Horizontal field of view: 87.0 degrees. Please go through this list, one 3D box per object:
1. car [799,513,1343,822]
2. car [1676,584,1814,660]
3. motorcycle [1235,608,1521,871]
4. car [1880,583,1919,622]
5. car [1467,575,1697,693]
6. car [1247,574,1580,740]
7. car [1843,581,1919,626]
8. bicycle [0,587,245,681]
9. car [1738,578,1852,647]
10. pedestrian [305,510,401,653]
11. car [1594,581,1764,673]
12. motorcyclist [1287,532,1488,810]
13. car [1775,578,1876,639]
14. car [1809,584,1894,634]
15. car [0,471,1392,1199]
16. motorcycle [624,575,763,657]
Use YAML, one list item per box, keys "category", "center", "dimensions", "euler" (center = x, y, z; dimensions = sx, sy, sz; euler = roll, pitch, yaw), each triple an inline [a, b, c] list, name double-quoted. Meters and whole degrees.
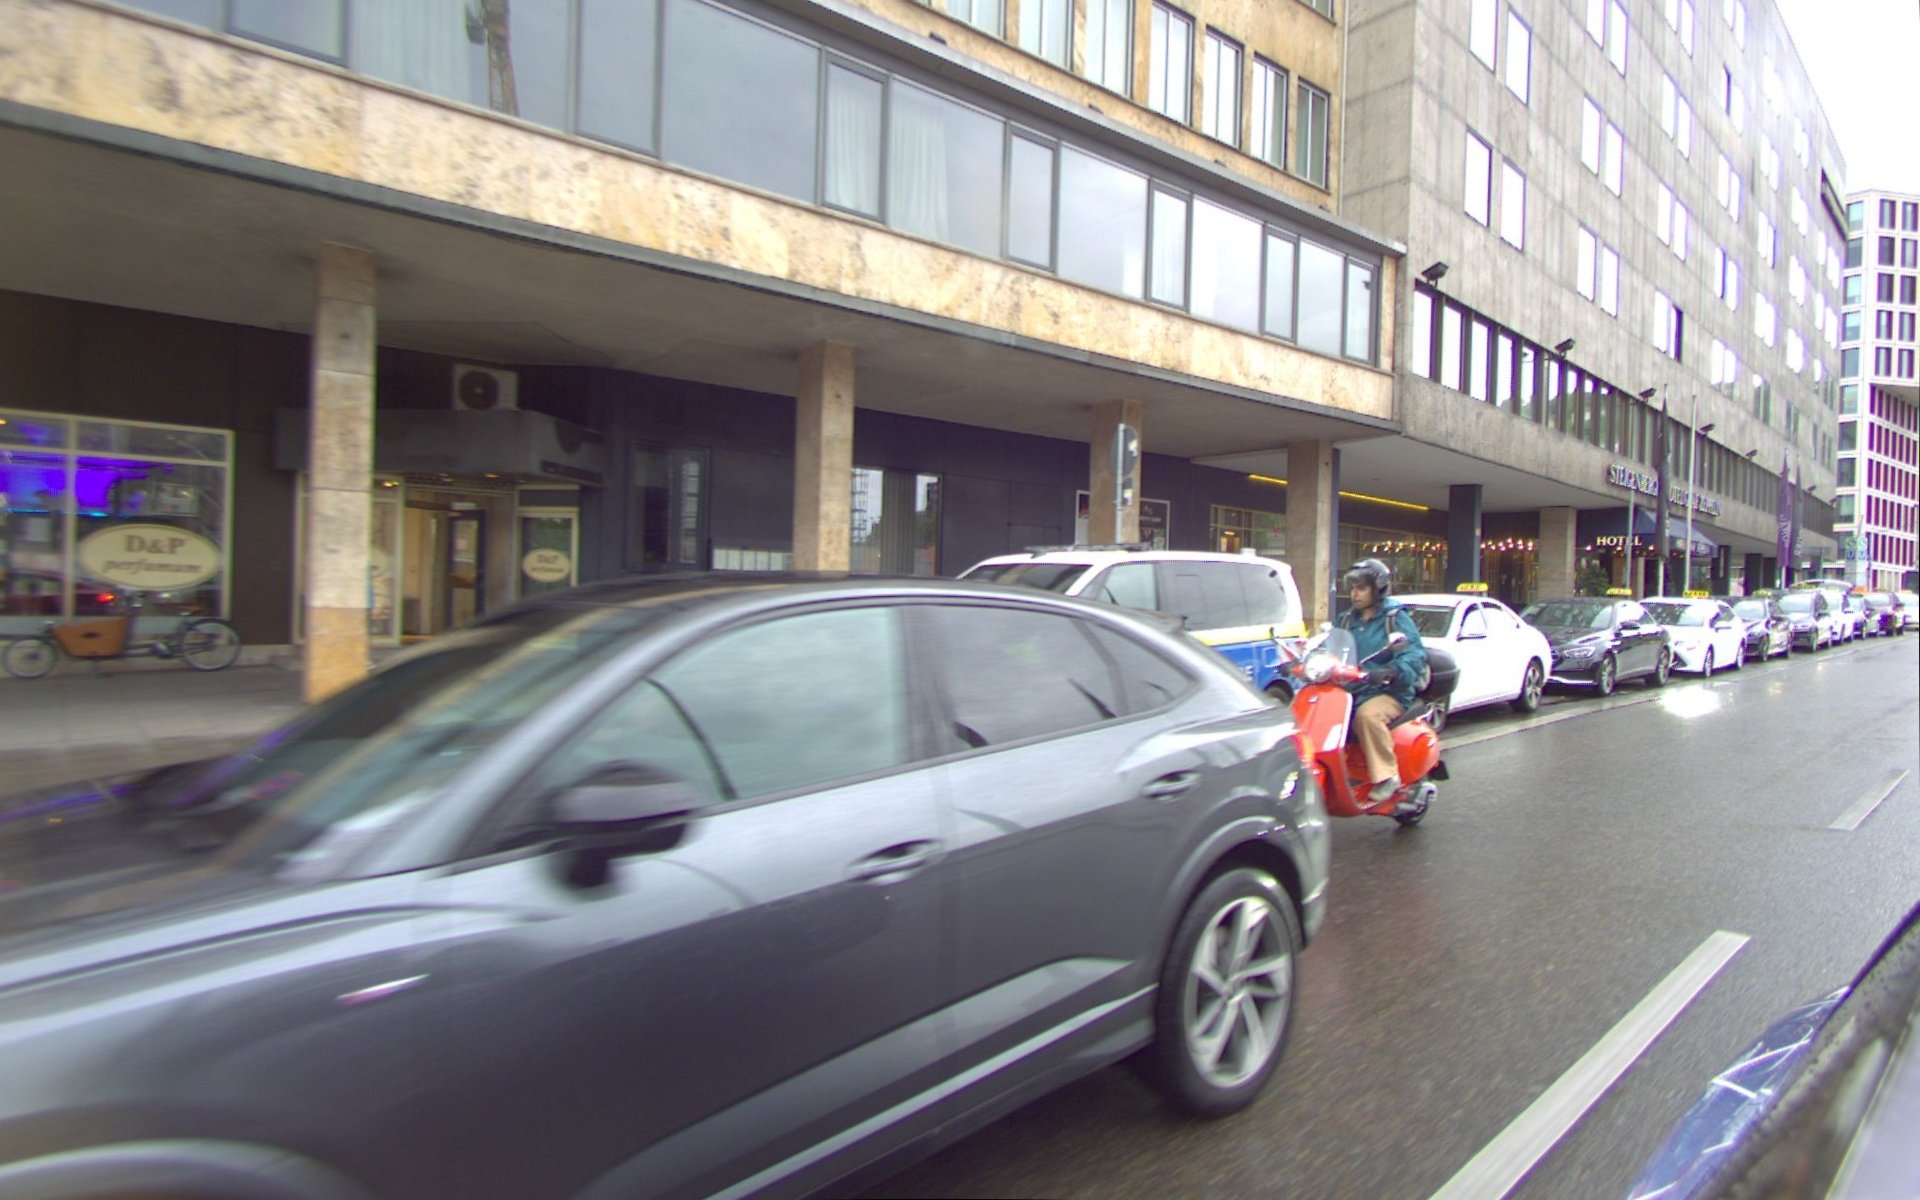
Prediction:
- category: "car"
  center: [1.195, 0.388, 8.688]
  dimensions: [4.850, 1.944, 1.877]
  euler: [-1, 1, -41]
- category: "car"
  center: [18.663, 0.441, 23.979]
  dimensions: [4.731, 1.612, 1.729]
  euler: [-1, 1, -41]
- category: "motorcycle"
  center: [2.616, 0.733, 6.229]
  dimensions: [1.931, 1.323, 0.848]
  euler: [-1, 0, -41]
- category: "car"
  center: [42.453, 0.083, 45.107]
  dimensions: [3.932, 1.634, 1.729]
  euler: [-1, 1, -41]
- category: "car"
  center: [10.198, 0.440, 16.430]
  dimensions: [4.731, 1.658, 1.877]
  euler: [-1, 1, -41]
- category: "car"
  center: [5.733, 0.528, 12.453]
  dimensions: [4.925, 1.658, 1.877]
  euler: [-1, 1, -41]
- category: "car"
  center: [34.922, 0.098, 38.312]
  dimensions: [3.932, 1.634, 1.729]
  euler: [-1, 1, -41]
- category: "bicycle"
  center: [-10.368, 0.375, 12.525]
  dimensions: [2.429, 1.059, 0.657]
  euler: [-1, 0, -41]
- category: "car"
  center: [23.178, 0.275, 28.031]
  dimensions: [4.731, 1.764, 1.729]
  euler: [-1, 1, -41]
- category: "pedestrian"
  center: [-8.052, -0.250, 13.477]
  dimensions: [0.784, 1.812, 1.138]
  euler: [-1, 0, -14]
- category: "car"
  center: [14.410, 0.447, 20.162]
  dimensions: [4.731, 1.612, 1.729]
  euler: [-1, 1, -41]
- category: "motorcyclist"
  center: [2.634, 0.388, 6.247]
  dimensions: [0.829, 1.547, 0.860]
  euler: [-1, 0, -41]
- category: "car"
  center: [26.958, 0.200, 31.468]
  dimensions: [4.731, 1.764, 1.729]
  euler: [-1, 1, -41]
- category: "car"
  center: [30.963, 0.274, 35.109]
  dimensions: [3.932, 1.634, 1.729]
  euler: [-1, 1, -41]
- category: "car"
  center: [-0.759, 0.585, 2.770]
  dimensions: [4.266, 1.520, 1.882]
  euler: [-1, 1, -41]
- category: "motorcycle"
  center: [-4.214, 0.225, 16.079]
  dimensions: [2.064, 1.233, 0.569]
  euler: [-1, 0, -33]
